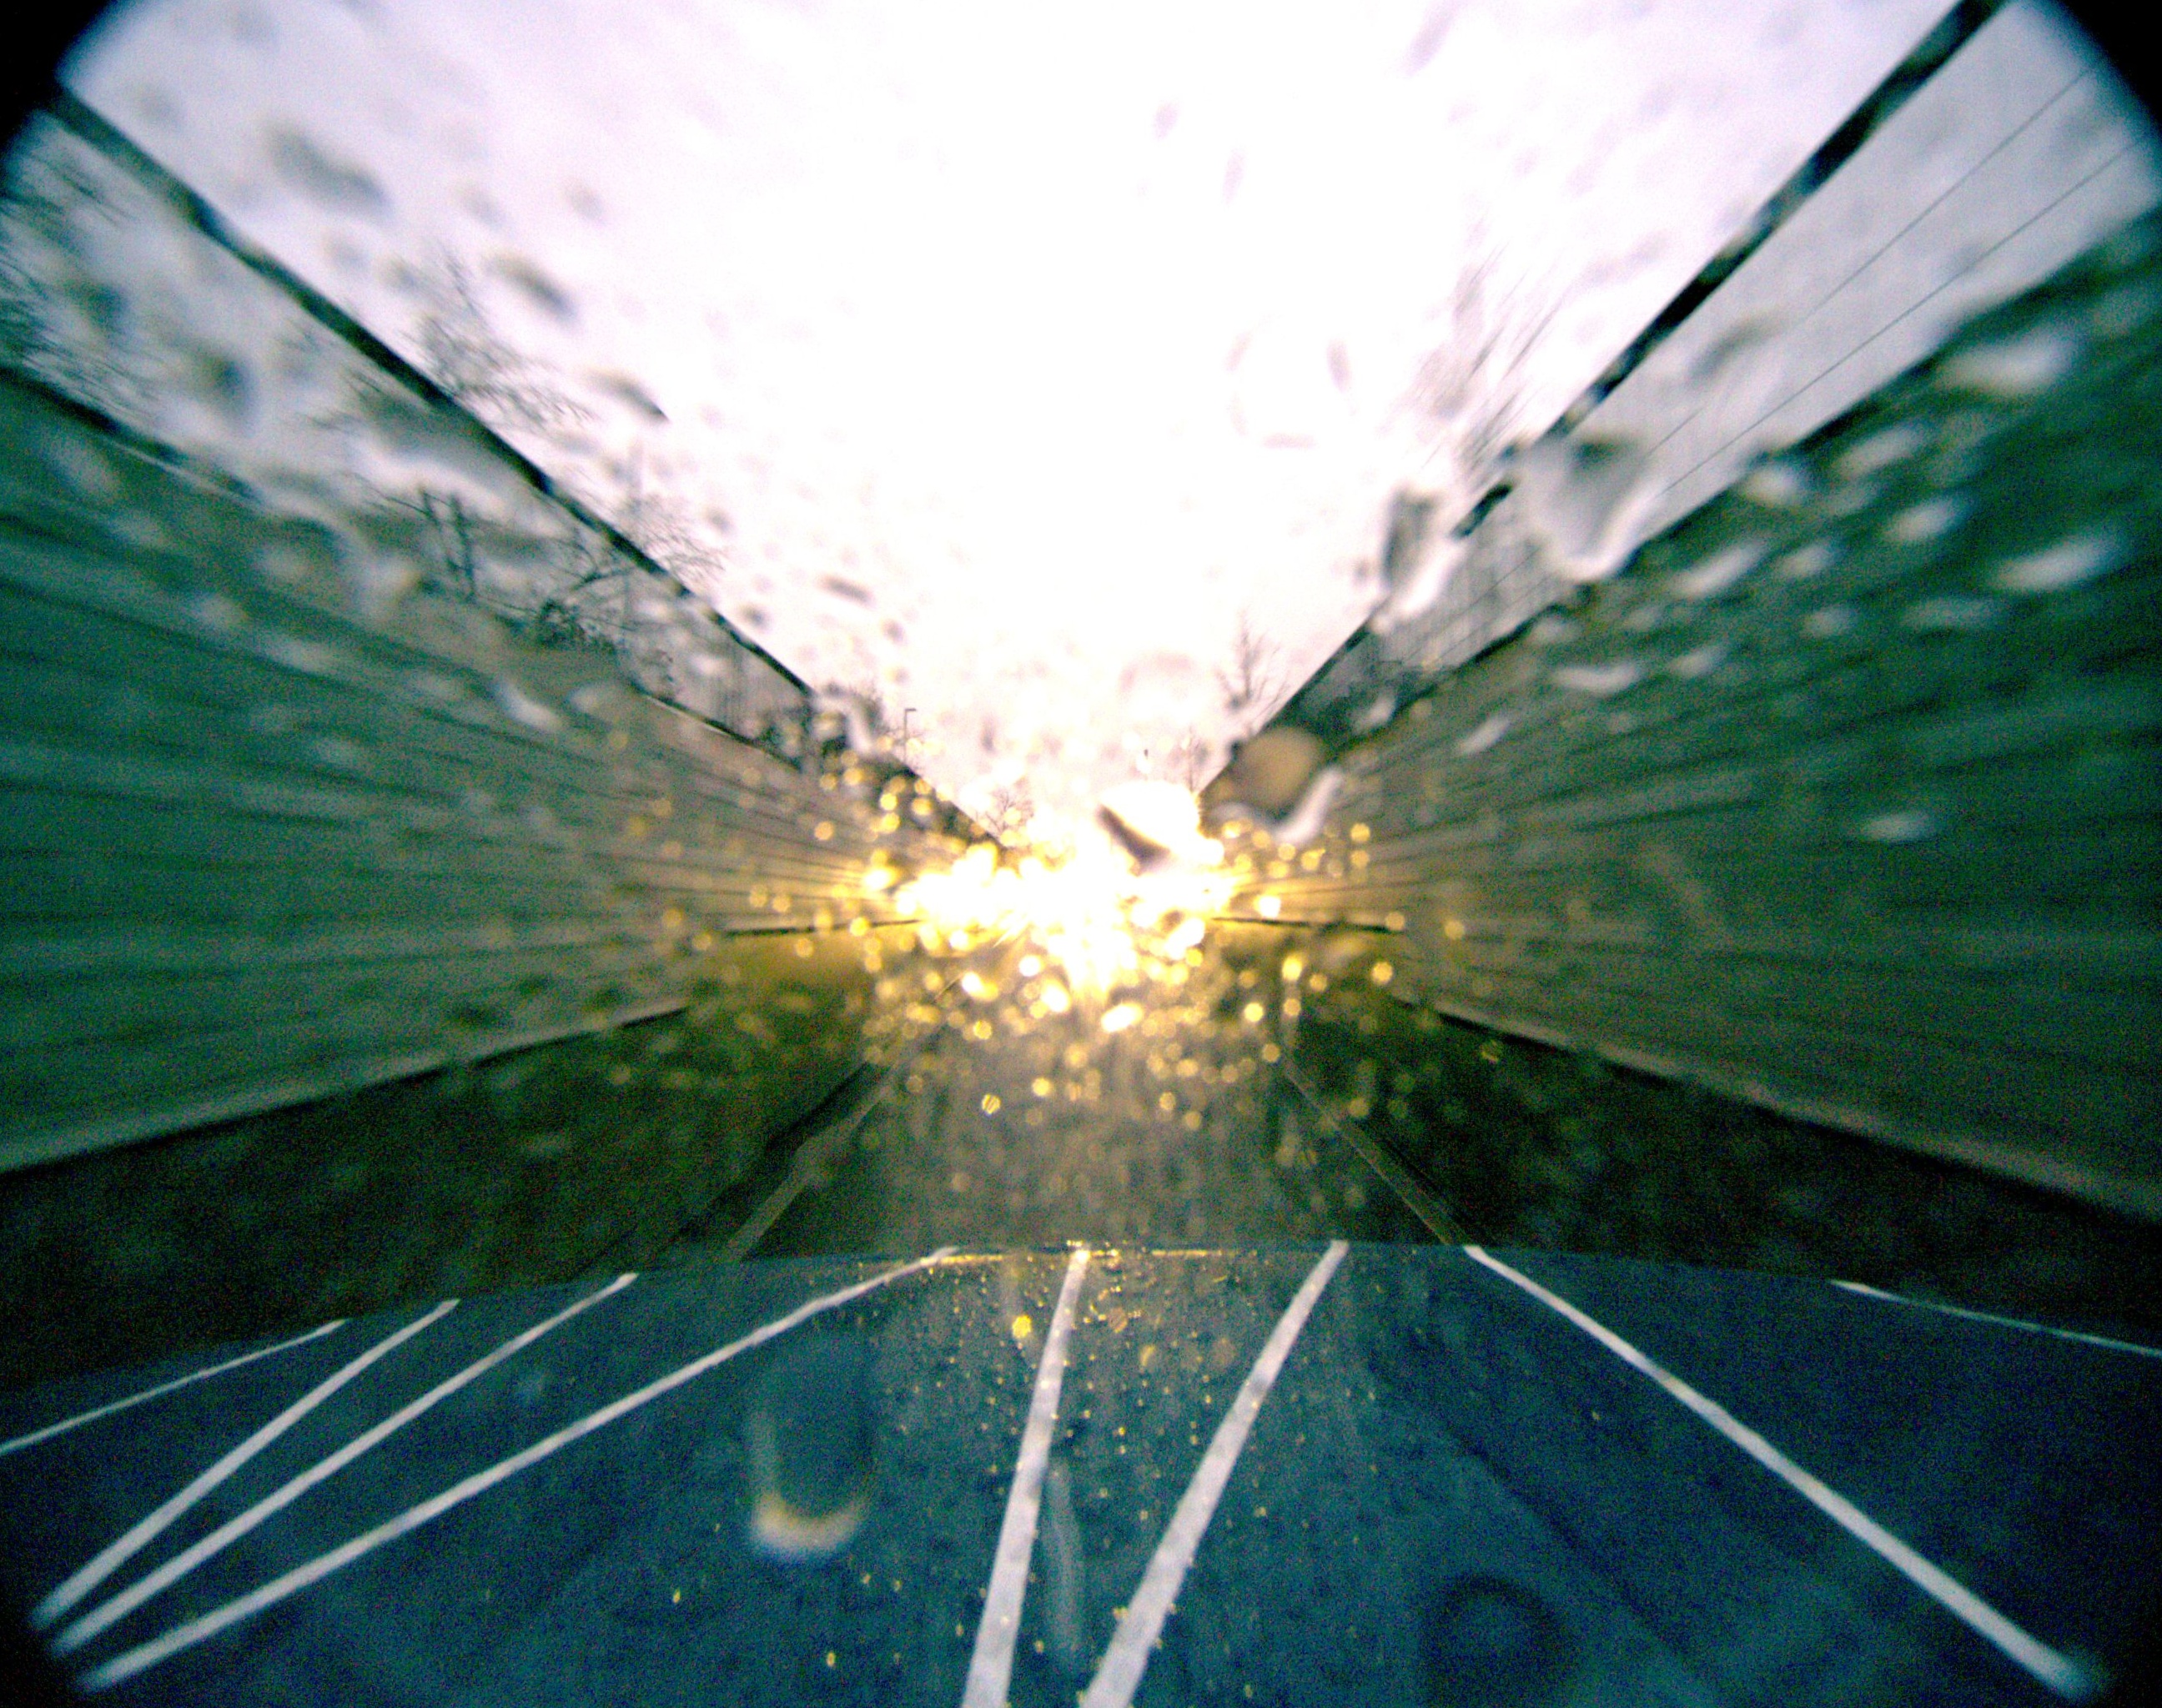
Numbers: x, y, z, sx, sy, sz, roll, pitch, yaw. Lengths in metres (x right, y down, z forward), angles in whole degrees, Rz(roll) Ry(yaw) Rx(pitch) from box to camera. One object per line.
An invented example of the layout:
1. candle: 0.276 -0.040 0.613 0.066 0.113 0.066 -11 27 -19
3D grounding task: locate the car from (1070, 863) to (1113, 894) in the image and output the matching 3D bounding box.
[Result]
1. car: 0.584 1.320 39.890 2.160 1.488 4.010 -1 -3 2
